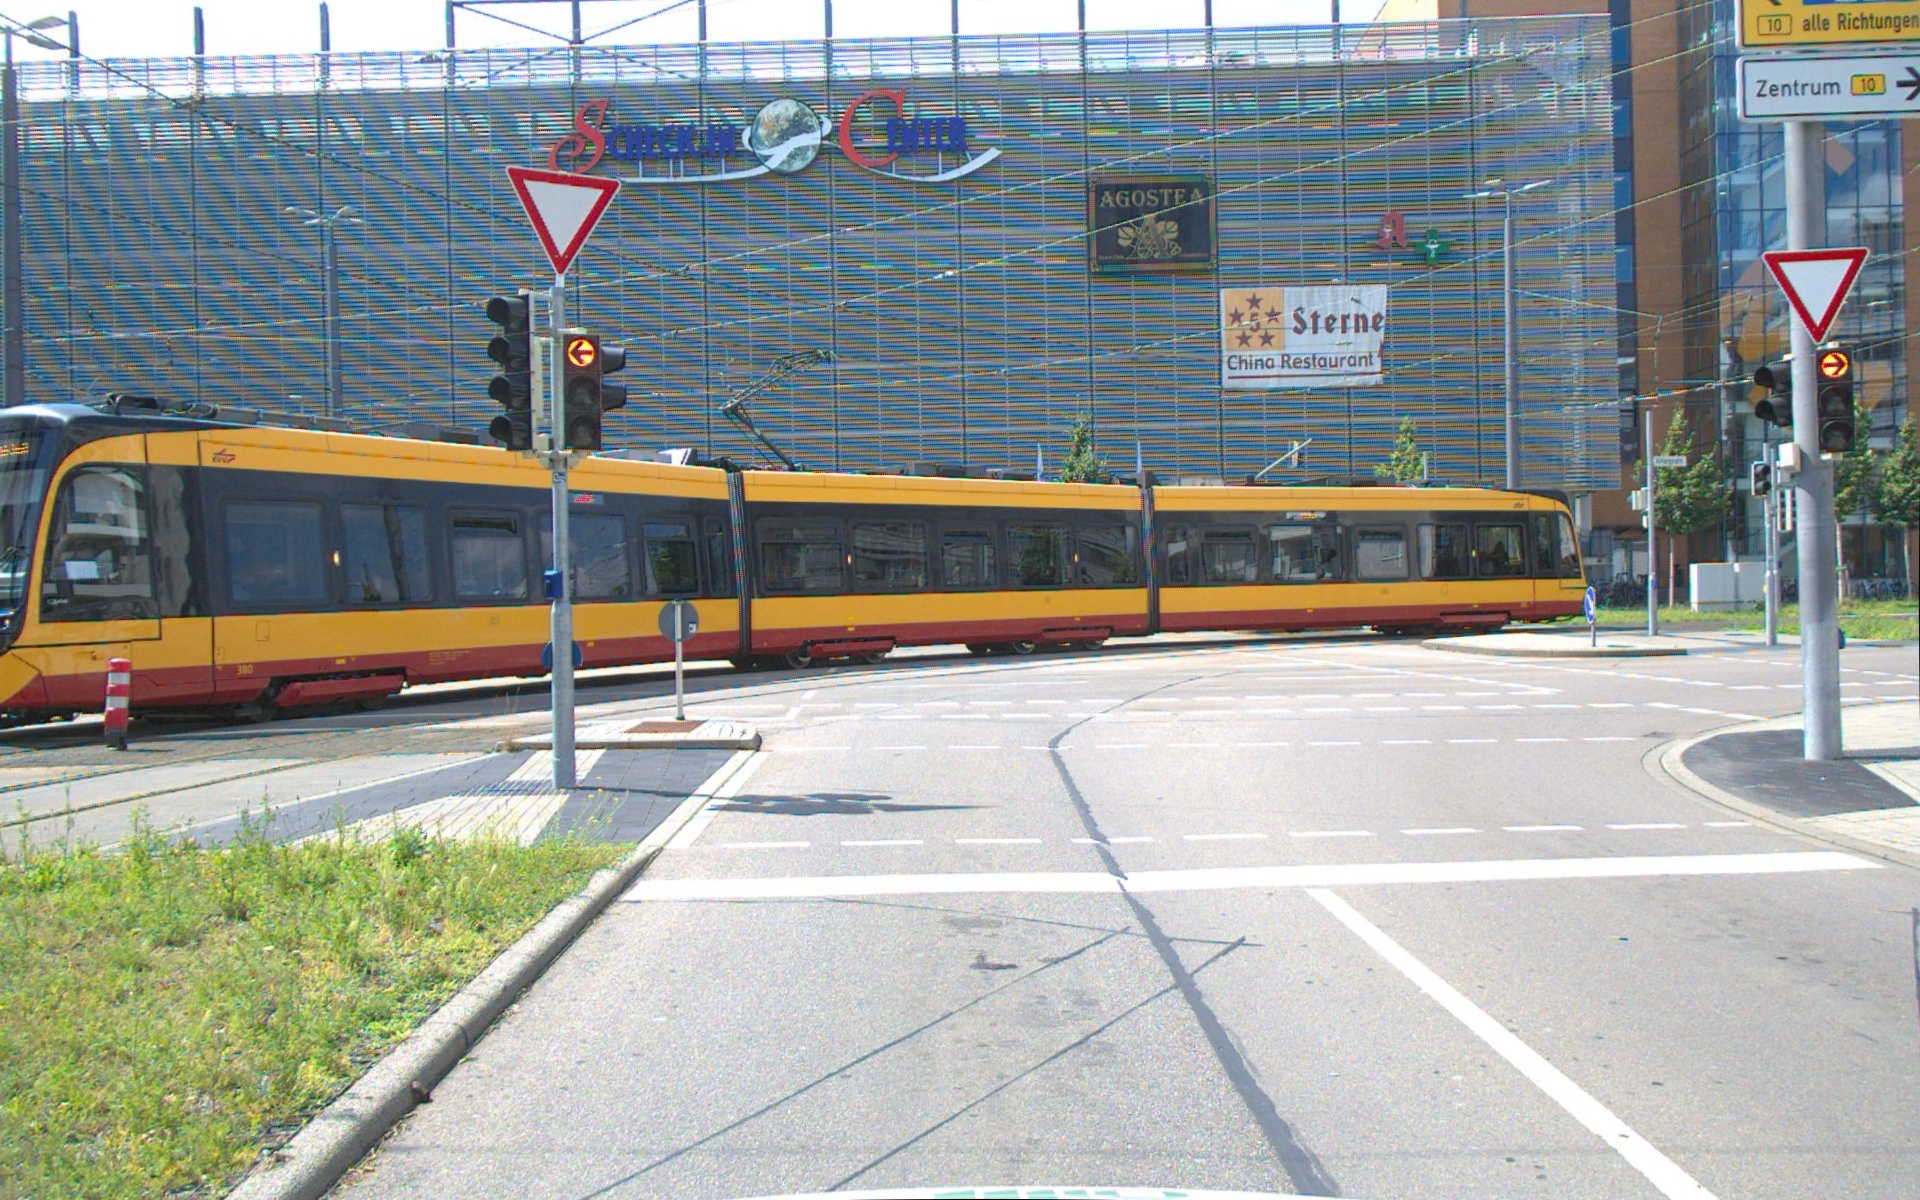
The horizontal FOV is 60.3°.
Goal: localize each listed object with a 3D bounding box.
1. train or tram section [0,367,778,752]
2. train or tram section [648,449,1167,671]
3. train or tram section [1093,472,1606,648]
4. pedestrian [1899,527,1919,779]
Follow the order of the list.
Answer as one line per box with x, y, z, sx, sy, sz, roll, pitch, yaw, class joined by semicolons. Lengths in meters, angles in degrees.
-7.423;-0.488;22.516;3.153;3.662;13.489;0;1;26;train or tram section
-0.608;-0.738;32.176;10.905;3.666;3.017;-1;1;-44;train or tram section
9.279;-0.919;38.666;12.428;3.684;3.043;-1;1;-24;train or tram section
7.094;0.343;11.240;0.797;1.732;0.910;-2;0;-28;pedestrian
